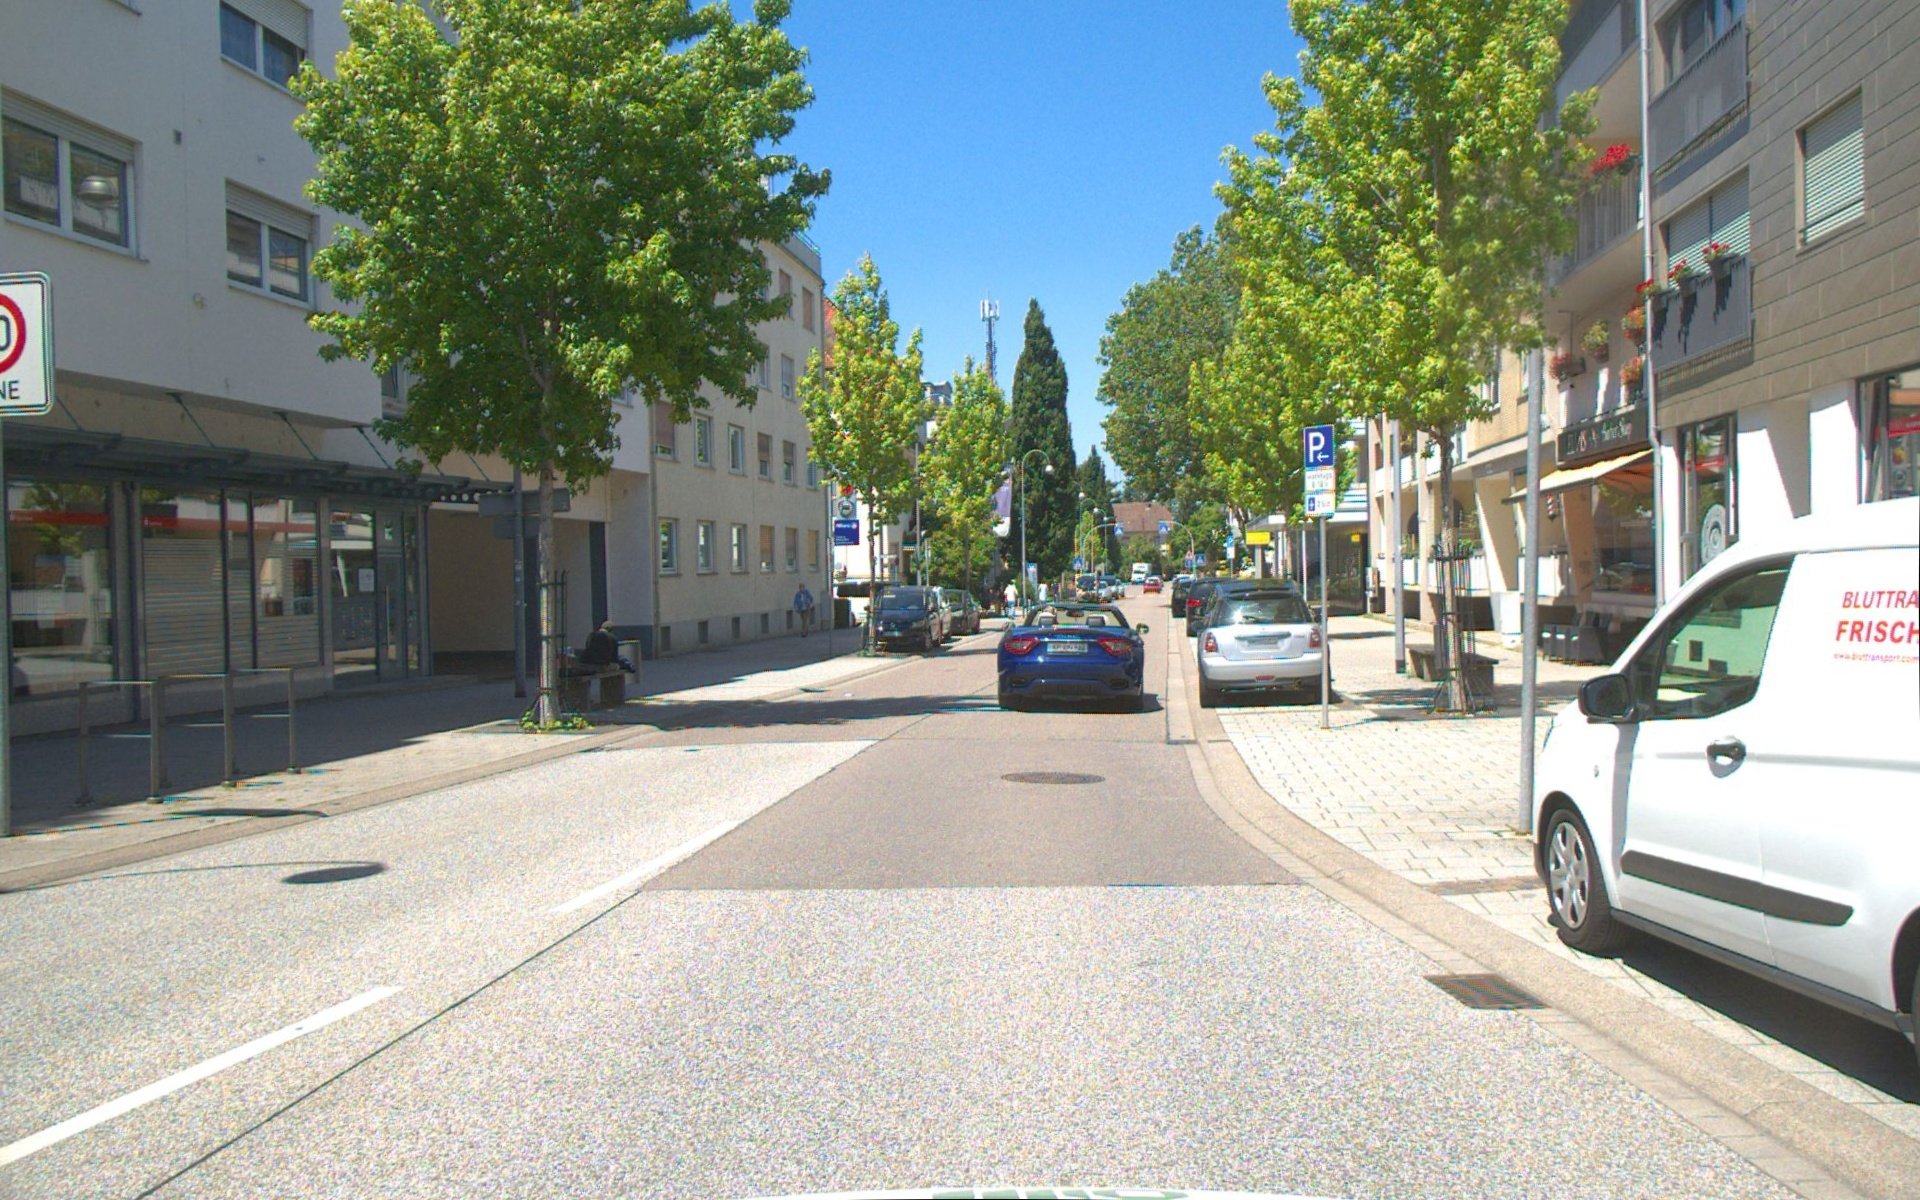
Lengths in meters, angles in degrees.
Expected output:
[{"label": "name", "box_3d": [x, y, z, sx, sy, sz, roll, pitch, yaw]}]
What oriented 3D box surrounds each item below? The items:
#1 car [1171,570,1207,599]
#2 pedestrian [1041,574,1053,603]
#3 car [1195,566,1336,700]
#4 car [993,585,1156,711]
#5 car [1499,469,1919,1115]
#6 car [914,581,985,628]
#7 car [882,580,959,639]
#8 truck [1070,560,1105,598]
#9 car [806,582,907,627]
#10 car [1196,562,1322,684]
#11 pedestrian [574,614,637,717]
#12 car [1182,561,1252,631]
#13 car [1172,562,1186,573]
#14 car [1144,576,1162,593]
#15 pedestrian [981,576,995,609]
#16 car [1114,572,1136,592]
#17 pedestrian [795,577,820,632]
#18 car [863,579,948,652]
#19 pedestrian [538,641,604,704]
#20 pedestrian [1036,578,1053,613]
[{"label": "car", "box_3d": [13.370, -0.924, 96.809, 1.934, 1.475, 4.353, -3, 2, 7]}, {"label": "pedestrian", "box_3d": [4.988, -0.653, 94.814, 0.574, 1.602, 0.782, -1, 1, 6]}, {"label": "car", "box_3d": [4.018, 0.379, 22.194, 1.588, 1.586, 3.844, -2, 1, 7]}, {"label": "car", "box_3d": [1.526, 0.556, 22.304, 1.935, 1.422, 4.630, 1, 1, 4]}, {"label": "car", "box_3d": [3.379, 0.466, 5.422, 1.712, 1.754, 3.908, -3, 1, -3]}, {"label": "car", "box_3d": [-0.316, 0.117, 56.240, 1.716, 1.499, 4.325, 0, 1, 9]}, {"label": "car", "box_3d": [-1.139, 0.255, 50.086, 1.785, 1.647, 4.396, 0, 2, 6]}, {"label": "truck", "box_3d": [7.776, -1.292, 100.794, 1.766, 2.154, 4.719, -3, 1, 7]}, {"label": "car", "box_3d": [-4.342, 0.173, 69.700, 3.973, 1.854, 1.761, 0, 1, 6]}, {"label": "car", "box_3d": [4.794, 0.302, 27.044, 1.726, 1.735, 4.709, -3, 1, 7]}, {"label": "pedestrian", "box_3d": [-4.965, 0.906, 23.191, 0.555, 1.396, 0.667, -2, 0, 16]}, {"label": "car", "box_3d": [7.860, -0.157, 50.526, 1.951, 1.829, 4.574, -3, 2, 9]}, {"label": "car", "box_3d": [33.191, -4.931, 250.499, 1.909, 1.501, 4.141, -3, 1, 8]}, {"label": "car", "box_3d": [18.685, -1.504, 159.985, 1.732, 1.502, 4.141, -1, 0, 7]}, {"label": "pedestrian", "box_3d": [1.306, -0.332, 75.976, 0.567, 1.500, 0.564, -2, 1, 4]}, {"label": "car", "box_3d": [13.867, -1.511, 138.784, 1.732, 1.501, 4.141, -3, 1, 7]}, {"label": "pedestrian", "box_3d": [-4.863, 0.136, 52.675, 0.644, 1.709, 0.630, -4, 3, -10]}, {"label": "car", "box_3d": [-1.408, 0.372, 44.415, 1.692, 1.770, 4.396, 1, 1, 6]}, {"label": "pedestrian", "box_3d": [-5.667, 1.059, 24.123, 0.650, 0.873, 0.733, -2, -3, 16]}, {"label": "pedestrian", "box_3d": [4.854, -0.253, 94.786, 0.831, 1.948, 0.762, -3, 3, 6]}]
